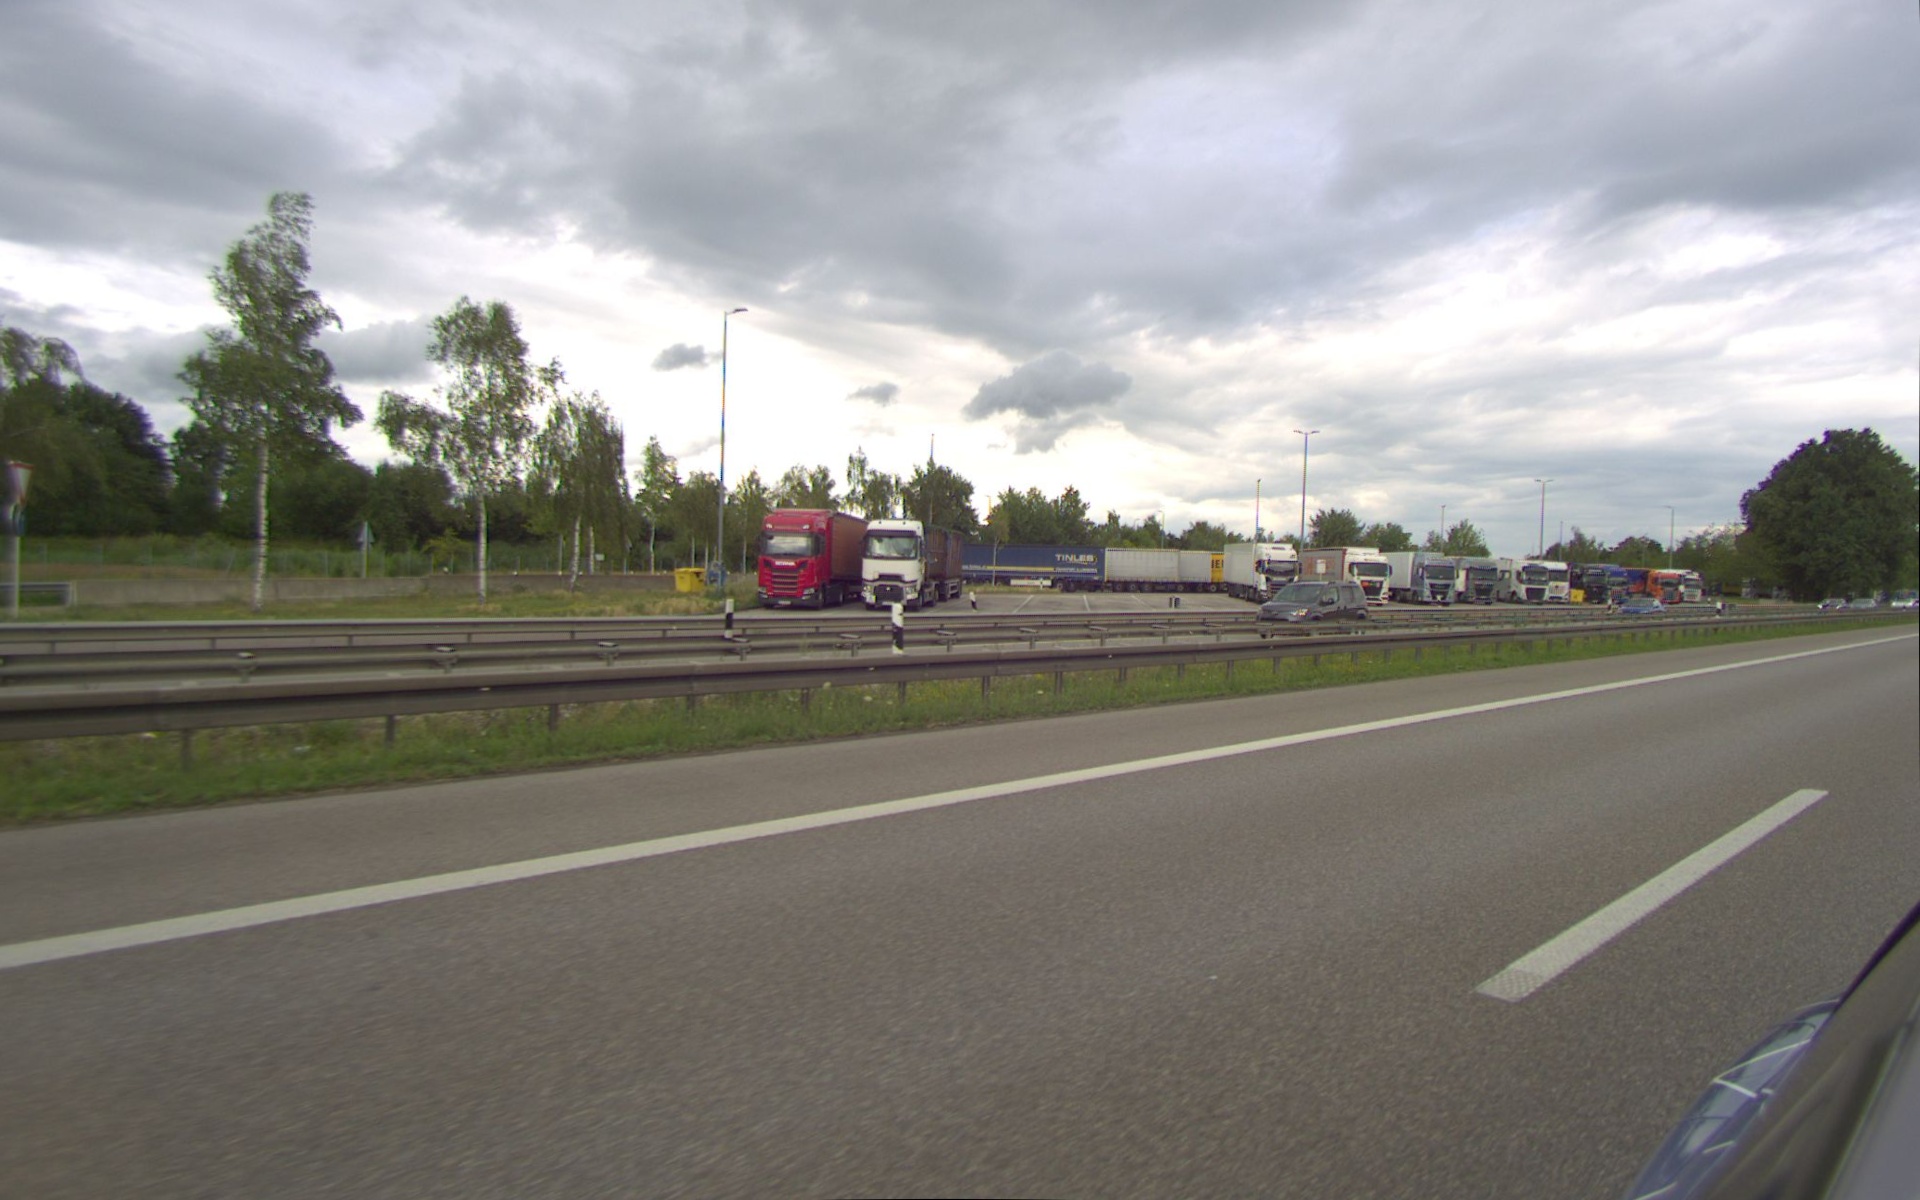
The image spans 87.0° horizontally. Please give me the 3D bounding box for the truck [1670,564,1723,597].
[{"bbox_3d":[92.109,-2.402,126.672,2.781,4.112,6.429,0,0,11],"label":"truck"}]

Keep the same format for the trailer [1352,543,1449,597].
[{"bbox_3d":[36.553,-2.337,84.778,2.610,4.136,14.682,0,0,4],"label":"trailer"}]

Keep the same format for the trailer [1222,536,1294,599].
[{"bbox_3d":[21.355,-2.168,73.310,2.568,4.125,13.521,0,0,6],"label":"trailer"}]

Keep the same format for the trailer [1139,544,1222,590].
[{"bbox_3d":[21.687,-3.228,99.690,7.596,4.348,1.999,1,1,2],"label":"trailer"}]

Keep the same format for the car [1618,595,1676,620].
[{"bbox_3d":[37.106,0.367,54.644,3.484,1.274,1.795,-1,0,-41],"label":"car"}]

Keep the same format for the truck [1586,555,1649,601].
[{"bbox_3d":[67.921,-2.269,104.734,3.007,4.614,6.076,0,0,6],"label":"truck"}]

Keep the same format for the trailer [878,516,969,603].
[{"bbox_3d":[-1.627,-2.008,52.309,2.701,3.889,13.188,1,2,6],"label":"trailer"}]

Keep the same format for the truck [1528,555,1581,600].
[{"bbox_3d":[55.887,-2.102,95.197,2.651,4.107,4.787,0,0,8],"label":"truck"}]

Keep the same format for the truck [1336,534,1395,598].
[{"bbox_3d":[28.516,-2.320,71.375,2.467,4.382,4.899,0,0,5],"label":"truck"}]

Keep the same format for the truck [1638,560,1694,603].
[{"bbox_3d":[78.451,-2.064,112.558,2.827,4.683,5.165,0,0,5],"label":"truck"}]

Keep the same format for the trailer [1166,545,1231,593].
[{"bbox_3d":[22.302,-2.900,94.777,5.532,4.348,1.999,1,1,2],"label":"trailer"}]

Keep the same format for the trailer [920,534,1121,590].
[{"bbox_3d":[4.888,-3.108,83.206,16.201,4.444,2.634,0,0,2],"label":"trailer"}]

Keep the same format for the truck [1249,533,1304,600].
[{"bbox_3d":[20.641,-2.137,66.175,2.568,4.187,4.526,0,0,6],"label":"truck"}]

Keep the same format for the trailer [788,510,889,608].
[{"bbox_3d":[-5.753,-1.913,50.063,2.553,4.277,11.092,0,1,6],"label":"trailer"}]

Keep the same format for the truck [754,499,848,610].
[{"bbox_3d":[-6.552,-1.789,42.437,2.547,4.307,5.685,0,0,6],"label":"truck"}]

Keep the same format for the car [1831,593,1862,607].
[{"bbox_3d":[78.327,-0.007,89.398,3.930,1.230,1.465,0,2,-41],"label":"car"}]

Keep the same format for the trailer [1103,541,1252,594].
[{"bbox_3d":[19.489,-2.891,91.220,12.643,4.336,2.629,2,0,3],"label":"trailer"}]

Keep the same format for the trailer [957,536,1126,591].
[{"bbox_3d":[6.870,-3.063,86.472,14.141,4.444,2.949,0,0,5],"label":"trailer"}]

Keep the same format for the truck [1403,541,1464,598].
[{"bbox_3d":[36.070,-2.261,77.202,2.593,4.183,4.790,0,0,4],"label":"truck"}]

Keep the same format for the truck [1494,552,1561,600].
[{"bbox_3d":[51.541,-2.121,92.060,2.836,4.186,6.959,0,0,7],"label":"truck"}]

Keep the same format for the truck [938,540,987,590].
[{"bbox_3d":[0.242,-2.961,87.018,4.049,4.210,2.942,0,0,5],"label":"truck"}]

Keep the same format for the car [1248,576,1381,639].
[{"bbox_3d":[10.989,0.190,31.197,4.513,1.778,1.832,0,2,-41],"label":"car"}]

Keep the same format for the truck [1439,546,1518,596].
[{"bbox_3d":[44.564,-2.415,87.324,3.486,4.136,7.642,0,0,6],"label":"truck"}]

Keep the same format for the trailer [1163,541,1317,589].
[{"bbox_3d":[28.244,-3.534,102.672,14.783,4.701,2.871,0,0,5],"label":"trailer"}]

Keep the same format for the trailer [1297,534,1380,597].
[{"bbox_3d":[29.183,-2.516,78.737,2.435,4.451,14.122,0,0,6],"label":"trailer"}]

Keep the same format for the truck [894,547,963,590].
[{"bbox_3d":[-2.558,-2.594,83.533,5.528,3.483,2.656,0,0,3],"label":"truck"}]

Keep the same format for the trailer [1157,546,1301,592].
[{"bbox_3d":[28.468,-3.258,107.705,14.395,4.701,3.155,0,0,5],"label":"trailer"}]

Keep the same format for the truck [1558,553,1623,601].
[{"bbox_3d":[63.235,-2.259,101.689,3.113,4.614,6.076,0,0,6],"label":"truck"}]

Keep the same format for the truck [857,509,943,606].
[{"bbox_3d":[-2.505,-1.820,44.442,2.709,3.897,6.384,1,1,6],"label":"truck"}]

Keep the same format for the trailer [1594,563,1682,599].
[{"bbox_3d":[83.198,-2.223,124.691,2.617,4.165,14.047,0,0,6],"label":"trailer"}]

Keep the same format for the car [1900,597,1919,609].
[{"bbox_3d":[111.858,0.368,118.783,3.810,1.258,1.827,0,2,-41],"label":"car"}]

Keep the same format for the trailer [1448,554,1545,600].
[{"bbox_3d":[52.449,-2.161,99.684,2.806,4.156,15.860,0,0,7],"label":"trailer"}]

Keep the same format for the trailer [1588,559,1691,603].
[{"bbox_3d":[79.002,-2.116,118.320,2.814,4.737,15.786,0,0,6],"label":"trailer"}]

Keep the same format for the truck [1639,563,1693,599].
[{"bbox_3d":[82.573,-2.186,118.523,2.623,4.201,5.920,0,0,6],"label":"truck"}]

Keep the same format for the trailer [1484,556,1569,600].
[{"bbox_3d":[56.836,-2.151,102.084,2.607,4.145,13.770,0,0,8],"label":"trailer"}]

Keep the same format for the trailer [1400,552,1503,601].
[{"bbox_3d":[45.304,-2.087,94.050,3.469,4.186,15.553,0,0,6],"label":"trailer"}]

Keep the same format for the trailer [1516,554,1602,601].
[{"bbox_3d":[63.953,-2.322,108.497,3.109,4.649,12.389,0,0,6],"label":"trailer"}]

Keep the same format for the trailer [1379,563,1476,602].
[{"bbox_3d":[40.792,-1.511,89.030,3.533,3.150,13.725,0,0,6],"label":"trailer"}]
